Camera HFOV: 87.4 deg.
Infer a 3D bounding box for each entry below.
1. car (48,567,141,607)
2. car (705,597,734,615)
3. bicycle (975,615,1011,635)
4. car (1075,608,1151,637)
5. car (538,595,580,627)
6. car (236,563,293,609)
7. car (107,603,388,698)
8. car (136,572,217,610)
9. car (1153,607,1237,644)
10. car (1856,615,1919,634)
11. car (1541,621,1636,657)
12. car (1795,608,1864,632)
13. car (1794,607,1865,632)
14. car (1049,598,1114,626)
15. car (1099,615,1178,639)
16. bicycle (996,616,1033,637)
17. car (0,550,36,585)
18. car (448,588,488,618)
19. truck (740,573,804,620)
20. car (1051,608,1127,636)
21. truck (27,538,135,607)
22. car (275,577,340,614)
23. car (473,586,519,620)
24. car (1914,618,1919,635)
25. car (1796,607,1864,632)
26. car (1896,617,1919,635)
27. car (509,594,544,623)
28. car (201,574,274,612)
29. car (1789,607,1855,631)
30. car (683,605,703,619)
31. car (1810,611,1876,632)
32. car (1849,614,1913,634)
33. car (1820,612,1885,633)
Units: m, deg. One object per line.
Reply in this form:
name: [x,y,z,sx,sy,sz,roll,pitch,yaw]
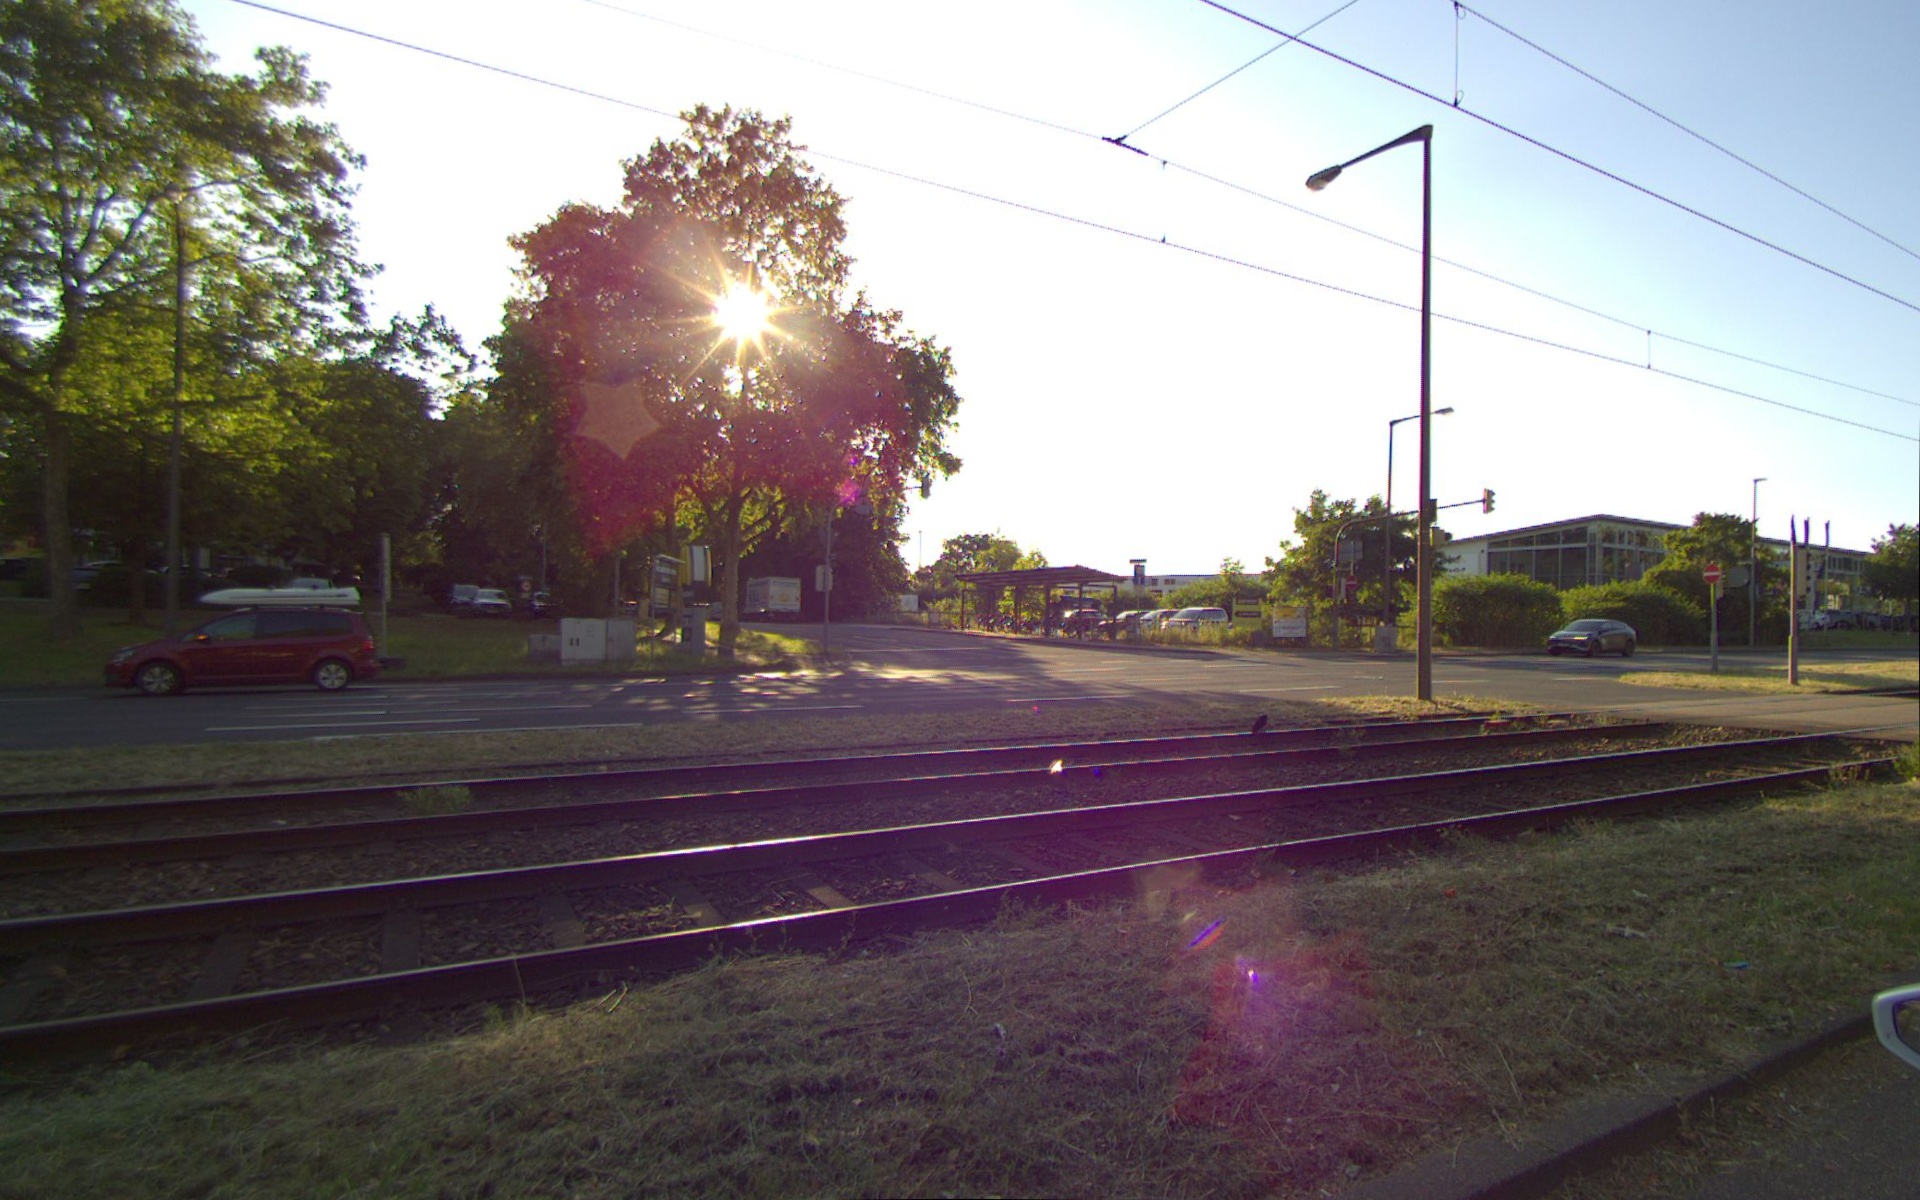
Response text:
car: [-36.093,-0.544,42.015,1.916,1.530,4.071,2,0,-26]
car: [-22.779,0.539,94.999,1.711,1.603,4.028,1,0,-27]
bicycle: [1.922,1.459,59.045,2.004,1.119,0.777,2,0,-30]
car: [8.815,1.291,57.796,4.123,1.604,1.853,1,0,-30]
car: [-20.445,0.533,51.133,1.604,1.477,3.878,2,0,-27]
car: [-37.302,-0.738,54.002,2.138,2.334,4.369,2,0,-31]
car: [-13.642,0.959,19.583,4.262,1.656,1.828,2,-2,-31]
car: [-33.961,-0.382,43.679,1.916,1.530,4.071,2,0,-26]
car: [12.357,1.332,52.733,4.123,1.846,1.853,1,0,-30]
car: [81.759,2.160,88.510,1.728,1.576,3.957,1,0,-37]
car: [28.335,1.724,45.296,4.120,1.501,1.854,1,0,-29]
car: [66.719,1.499,77.170,3.940,1.727,1.735,1,0,40]
car: [65.173,1.449,75.370,3.940,1.727,1.735,1,0,40]
car: [9.281,0.944,76.661,4.715,2.041,1.853,1,0,-30]
car: [9.934,1.493,55.865,4.123,1.284,1.853,1,0,-30]
bicycle: [3.063,1.482,56.409,2.004,1.119,0.777,2,0,-30]
car: [-53.865,-1.867,56.376,2.274,1.875,5.220,2,0,-36]
car: [-28.578,0.139,58.490,1.836,1.637,4.036,2,0,-23]
truck: [-15.053,-0.258,79.785,2.782,3.520,8.291,1,0,-27]
car: [7.711,1.298,59.990,4.123,1.604,1.968,1,0,-30]
truck: [-44.519,-1.328,51.059,2.468,3.209,6.187,2,0,-26]
car: [-29.438,-0.208,45.433,1.916,1.530,4.071,2,0,-26]
car: [-22.940,0.121,49.584,1.916,1.530,4.071,2,0,-26]
car: [91.291,2.509,93.022,1.725,1.642,3.962,1,0,-34]
car: [68.357,1.497,78.982,3.940,1.840,1.735,1,0,40]
car: [88.375,2.393,91.743,1.725,1.642,3.962,1,0,-34]
car: [-26.204,0.517,60.688,1.836,1.637,4.036,2,0,-23]
car: [-32.119,-0.309,44.751,1.916,1.530,4.071,2,0,-26]
car: [69.319,1.515,80.827,3.940,1.840,1.735,1,0,40]
car: [-33.320,1.528,125.406,1.887,1.602,4.036,2,0,-21]
car: [71.982,1.754,81.943,3.940,1.577,1.735,1,0,40]
car: [79.607,2.072,86.892,3.940,1.577,1.735,1,0,40]
car: [74.202,1.850,83.611,3.940,1.577,1.735,1,0,40]
